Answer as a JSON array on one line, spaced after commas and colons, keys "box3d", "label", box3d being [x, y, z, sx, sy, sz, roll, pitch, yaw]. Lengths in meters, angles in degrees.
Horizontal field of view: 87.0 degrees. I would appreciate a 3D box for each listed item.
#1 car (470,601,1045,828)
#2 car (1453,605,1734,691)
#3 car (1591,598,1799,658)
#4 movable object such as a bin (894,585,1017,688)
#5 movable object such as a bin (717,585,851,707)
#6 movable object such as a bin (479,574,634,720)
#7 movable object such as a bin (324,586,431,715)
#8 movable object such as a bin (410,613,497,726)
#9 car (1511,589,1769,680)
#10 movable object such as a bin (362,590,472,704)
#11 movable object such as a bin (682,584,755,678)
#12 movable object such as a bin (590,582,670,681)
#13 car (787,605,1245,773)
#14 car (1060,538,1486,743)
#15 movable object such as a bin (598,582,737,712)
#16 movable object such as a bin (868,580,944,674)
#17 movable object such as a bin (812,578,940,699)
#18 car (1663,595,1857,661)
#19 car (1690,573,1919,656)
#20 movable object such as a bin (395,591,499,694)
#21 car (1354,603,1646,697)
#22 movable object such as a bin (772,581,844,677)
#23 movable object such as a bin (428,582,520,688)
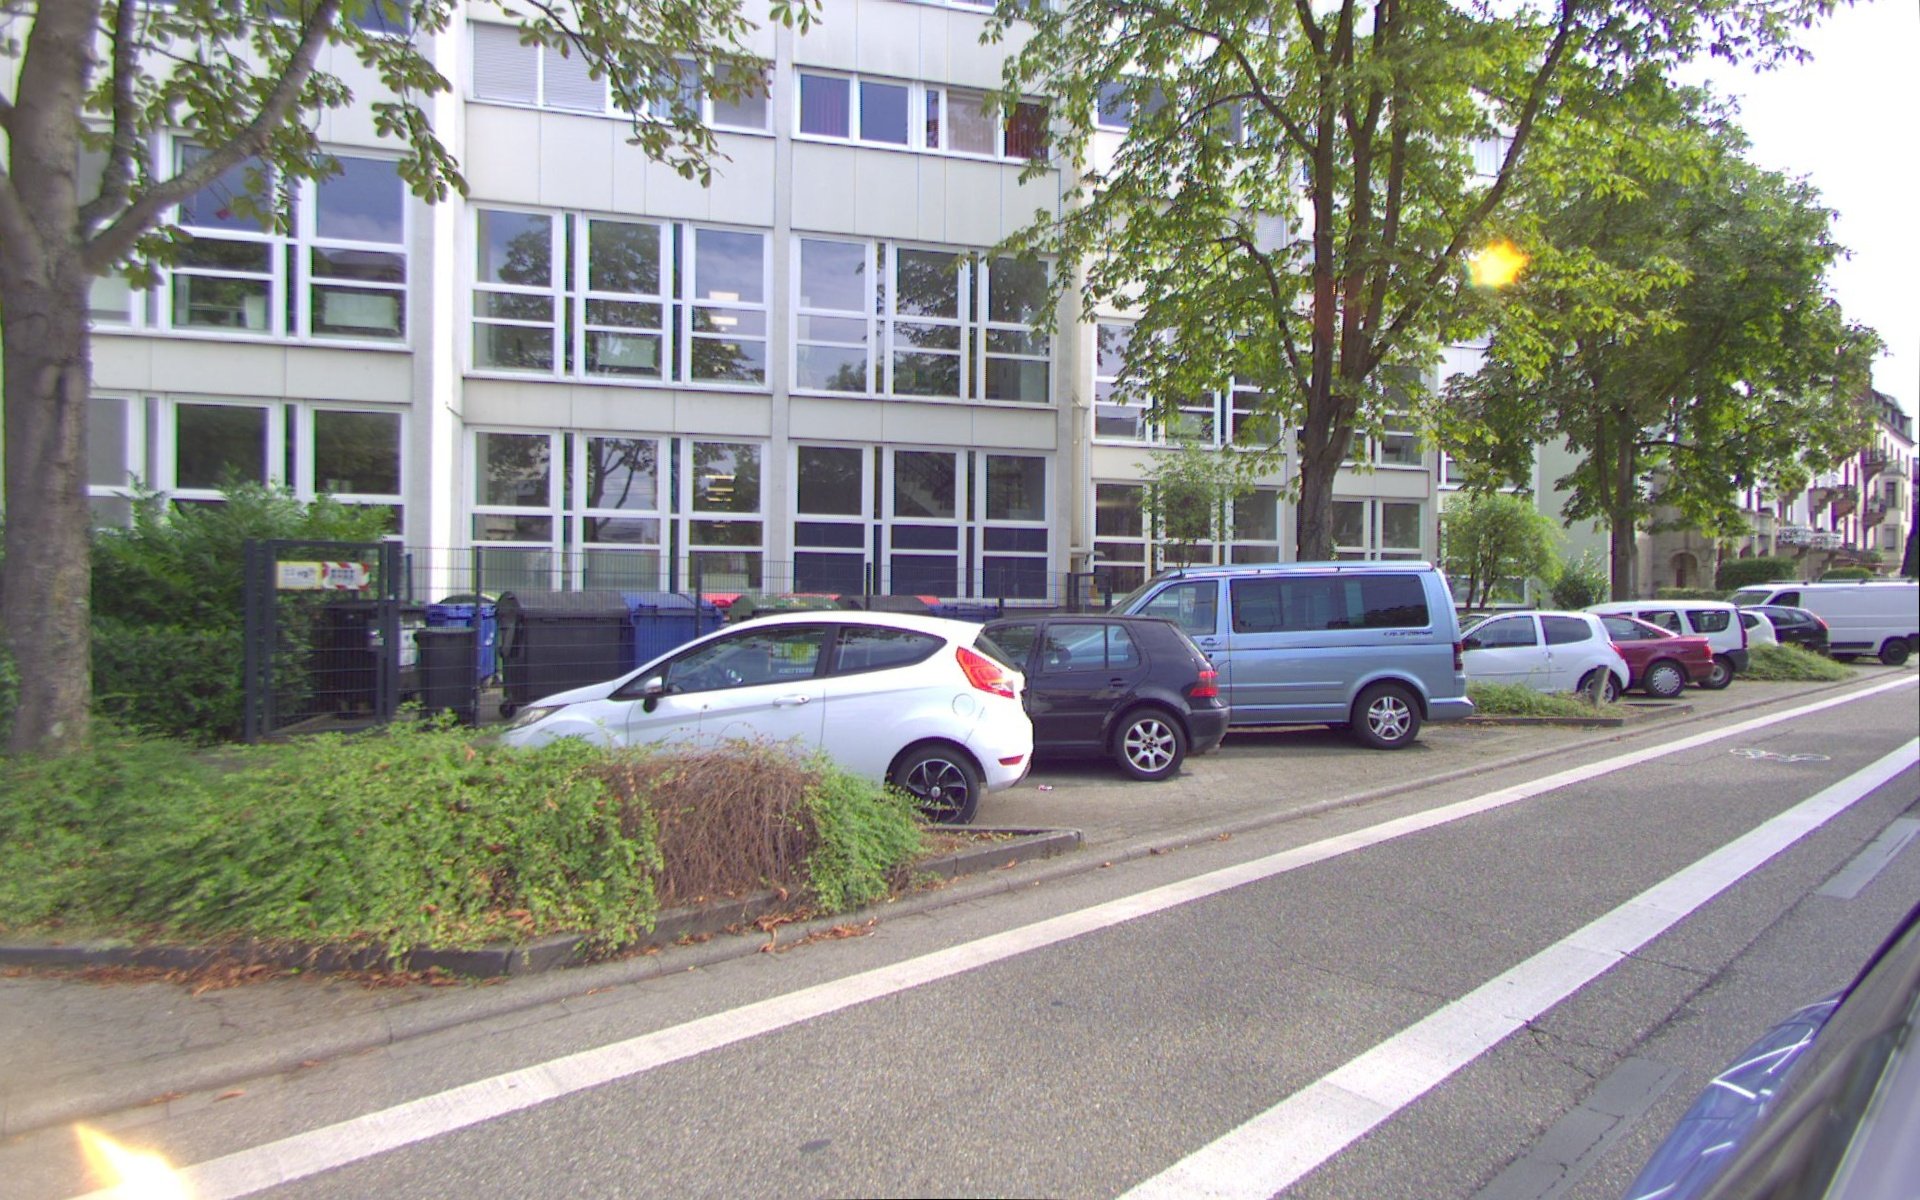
[{"box3d": [-1.307, 0.727, 7.385, 3.792, 1.410, 1.632, 0, 0, 4], "label": "car"}, {"box3d": [10.888, 0.785, 17.649, 3.708, 1.355, 1.810, 0, 1, 9], "label": "car"}, {"box3d": [17.393, 0.631, 24.084, 3.580, 1.347, 1.766, 0, 0, 5], "label": "car"}, {"box3d": [-0.071, 0.525, 15.494, 1.374, 1.477, 1.335, 0, 0, -36], "label": "movable object such as a bin"}, {"box3d": [-2.382, 0.571, 13.619, 1.328, 1.521, 1.335, 0, 0, -36], "label": "movable object such as a bin"}, {"box3d": [-4.681, 0.493, 11.714, 1.389, 1.549, 1.330, 0, 0, -36], "label": "movable object such as a bin"}, {"box3d": [-6.783, 0.558, 11.842, 0.893, 1.425, 1.026, 0, 0, -19], "label": "movable object such as a bin"}, {"box3d": [-5.378, 0.708, 10.728, 0.729, 1.119, 0.786, 0, 0, -34], "label": "movable object such as a bin"}, {"box3d": [13.008, 0.613, 19.586, 3.708, 1.638, 1.810, 0, 0, 9], "label": "car"}, {"box3d": [-7.018, 0.580, 13.157, 1.095, 1.409, 1.065, 0, 0, -19], "label": "movable object such as a bin"}, {"box3d": [-4.052, 0.500, 17.057, 1.150, 1.533, 1.182, 0, 0, -12], "label": "movable object such as a bin"}, {"box3d": [-5.485, 0.496, 16.914, 1.150, 1.588, 1.182, 0, 0, -12], "label": "movable object such as a bin"}, {"box3d": [0.501, 0.768, 9.561, 3.902, 1.405, 1.812, 0, -1, 5], "label": "car"}, {"box3d": [3.310, 0.398, 11.498, 4.268, 2.090, 1.998, 0, 0, 5], "label": "car"}, {"box3d": [-3.690, 0.544, 12.740, 1.312, 1.523, 1.335, 0, 0, -36], "label": "movable object such as a bin"}, {"box3d": [-0.964, 0.459, 17.754, 1.150, 1.588, 1.182, 0, 0, -12], "label": "movable object such as a bin"}, {"box3d": [-1.208, 0.516, 14.473, 1.328, 1.616, 1.335, 0, 0, -36], "label": "movable object such as a bin"}, {"box3d": [20.739, 0.688, 26.418, 3.605, 1.609, 1.753, 0, 1, 24], "label": "car"}, {"box3d": [23.938, 0.372, 28.249, 5.349, 2.203, 2.143, 0, 0, 9], "label": "car"}, {"box3d": [-7.295, 0.575, 14.468, 1.155, 1.387, 1.177, 0, 0, -19], "label": "movable object such as a bin"}, {"box3d": [8.251, 0.726, 15.747, 3.580, 1.347, 1.766, 0, 0, 5], "label": "car"}, {"box3d": [-2.634, 0.473, 17.452, 1.150, 1.588, 1.182, 0, 0, -12], "label": "movable object such as a bin"}, {"box3d": [-7.568, 0.517, 15.819, 1.155, 1.588, 1.177, 0, 0, -19], "label": "movable object such as a bin"}]
